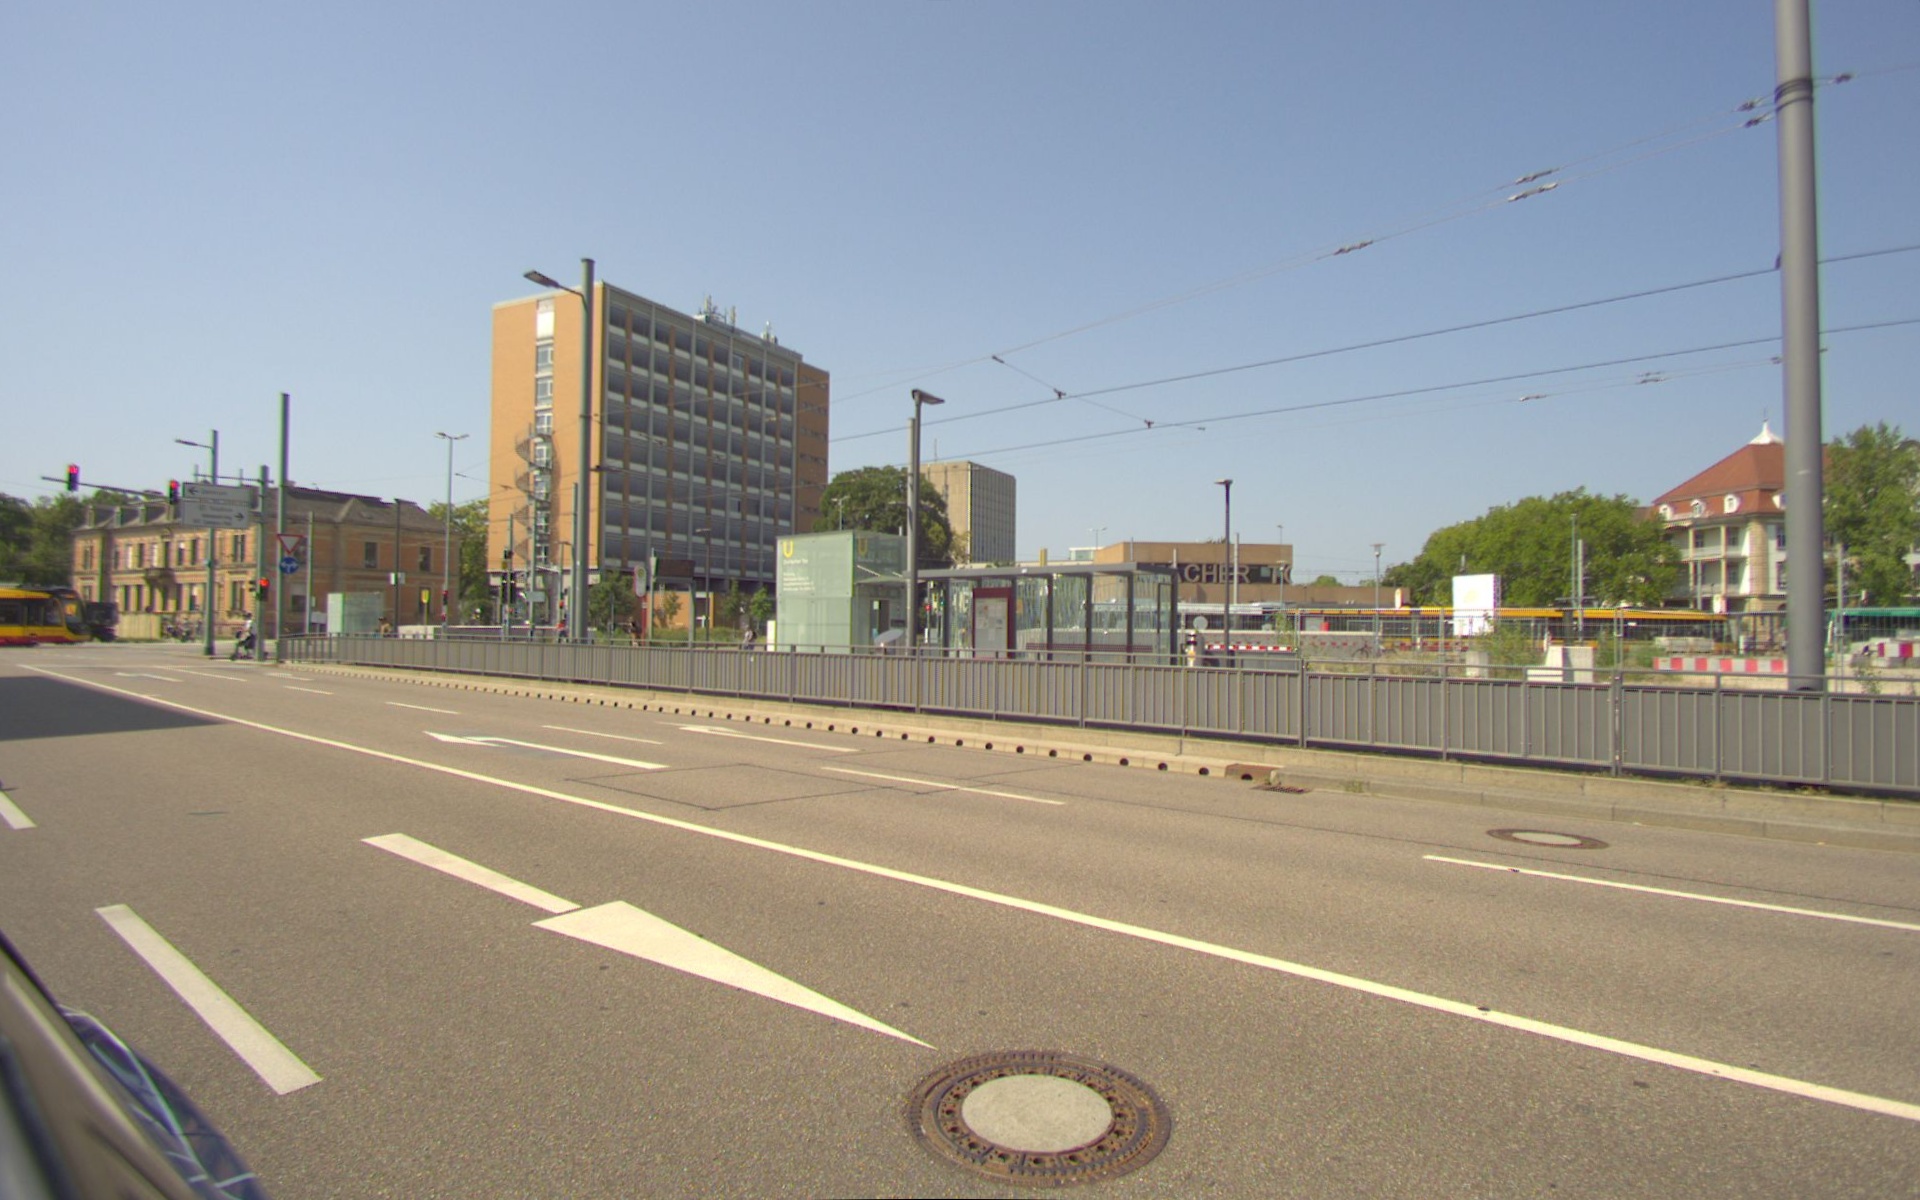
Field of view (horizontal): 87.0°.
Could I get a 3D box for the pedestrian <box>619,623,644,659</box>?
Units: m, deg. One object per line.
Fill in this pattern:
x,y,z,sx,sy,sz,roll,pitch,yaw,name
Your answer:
-16.688,2.085,51.422,0.959,1.793,0.774,0,-2,44,pedestrian

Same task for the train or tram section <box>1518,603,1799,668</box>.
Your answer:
46.434,2.436,67.587,16.418,3.951,4.067,1,-3,-4,train or tram section

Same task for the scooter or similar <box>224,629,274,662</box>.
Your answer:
-25.723,1.645,36.627,0.709,1.157,1.324,-1,-3,41,scooter or similar

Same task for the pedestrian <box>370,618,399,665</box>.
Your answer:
-20.905,1.526,36.755,0.796,1.672,0.570,-3,-3,23,pedestrian

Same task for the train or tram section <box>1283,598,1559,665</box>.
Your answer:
30.036,2.140,66.360,16.418,3.951,4.067,1,-3,-4,train or tram section

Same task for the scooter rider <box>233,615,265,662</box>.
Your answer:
-25.711,1.381,36.606,0.779,1.686,0.763,-1,-3,41,scooter rider

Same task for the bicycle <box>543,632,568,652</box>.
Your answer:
-22.817,2.363,57.064,1.914,1.077,0.606,-1,-3,45,bicycle

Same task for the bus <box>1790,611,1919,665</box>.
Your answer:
56.485,2.210,60.438,12.245,3.055,2.545,-1,-3,-5,bus

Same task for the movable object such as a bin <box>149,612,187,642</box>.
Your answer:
-71.668,2.455,91.526,4.452,2.692,1.794,-1,-3,40,movable object such as a bin

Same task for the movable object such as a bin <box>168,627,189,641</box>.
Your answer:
-62.858,2.712,81.387,1.022,1.093,0.822,-1,-3,-8,movable object such as a bin

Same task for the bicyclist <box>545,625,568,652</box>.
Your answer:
-22.756,2.171,57.020,0.980,1.470,0.865,-1,-3,45,bicyclist

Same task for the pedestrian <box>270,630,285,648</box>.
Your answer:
-54.651,3.119,81.040,0.787,1.405,0.836,-2,-3,43,pedestrian

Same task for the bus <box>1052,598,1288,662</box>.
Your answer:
11.566,1.687,56.256,12.565,3.356,2.680,1,-2,-4,bus

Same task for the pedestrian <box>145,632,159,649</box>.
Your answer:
-64.661,3.227,81.028,0.803,1.362,0.720,2,-3,-41,pedestrian

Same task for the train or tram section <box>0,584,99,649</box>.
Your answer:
-56.086,0.906,56.615,12.010,3.588,2.603,1,-2,-15,train or tram section

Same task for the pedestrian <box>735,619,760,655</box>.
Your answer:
-10.574,1.836,50.395,0.959,1.793,0.774,0,-2,44,pedestrian

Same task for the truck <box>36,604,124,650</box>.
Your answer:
-68.396,2.146,78.626,7.162,3.254,3.011,-3,-4,30,truck
